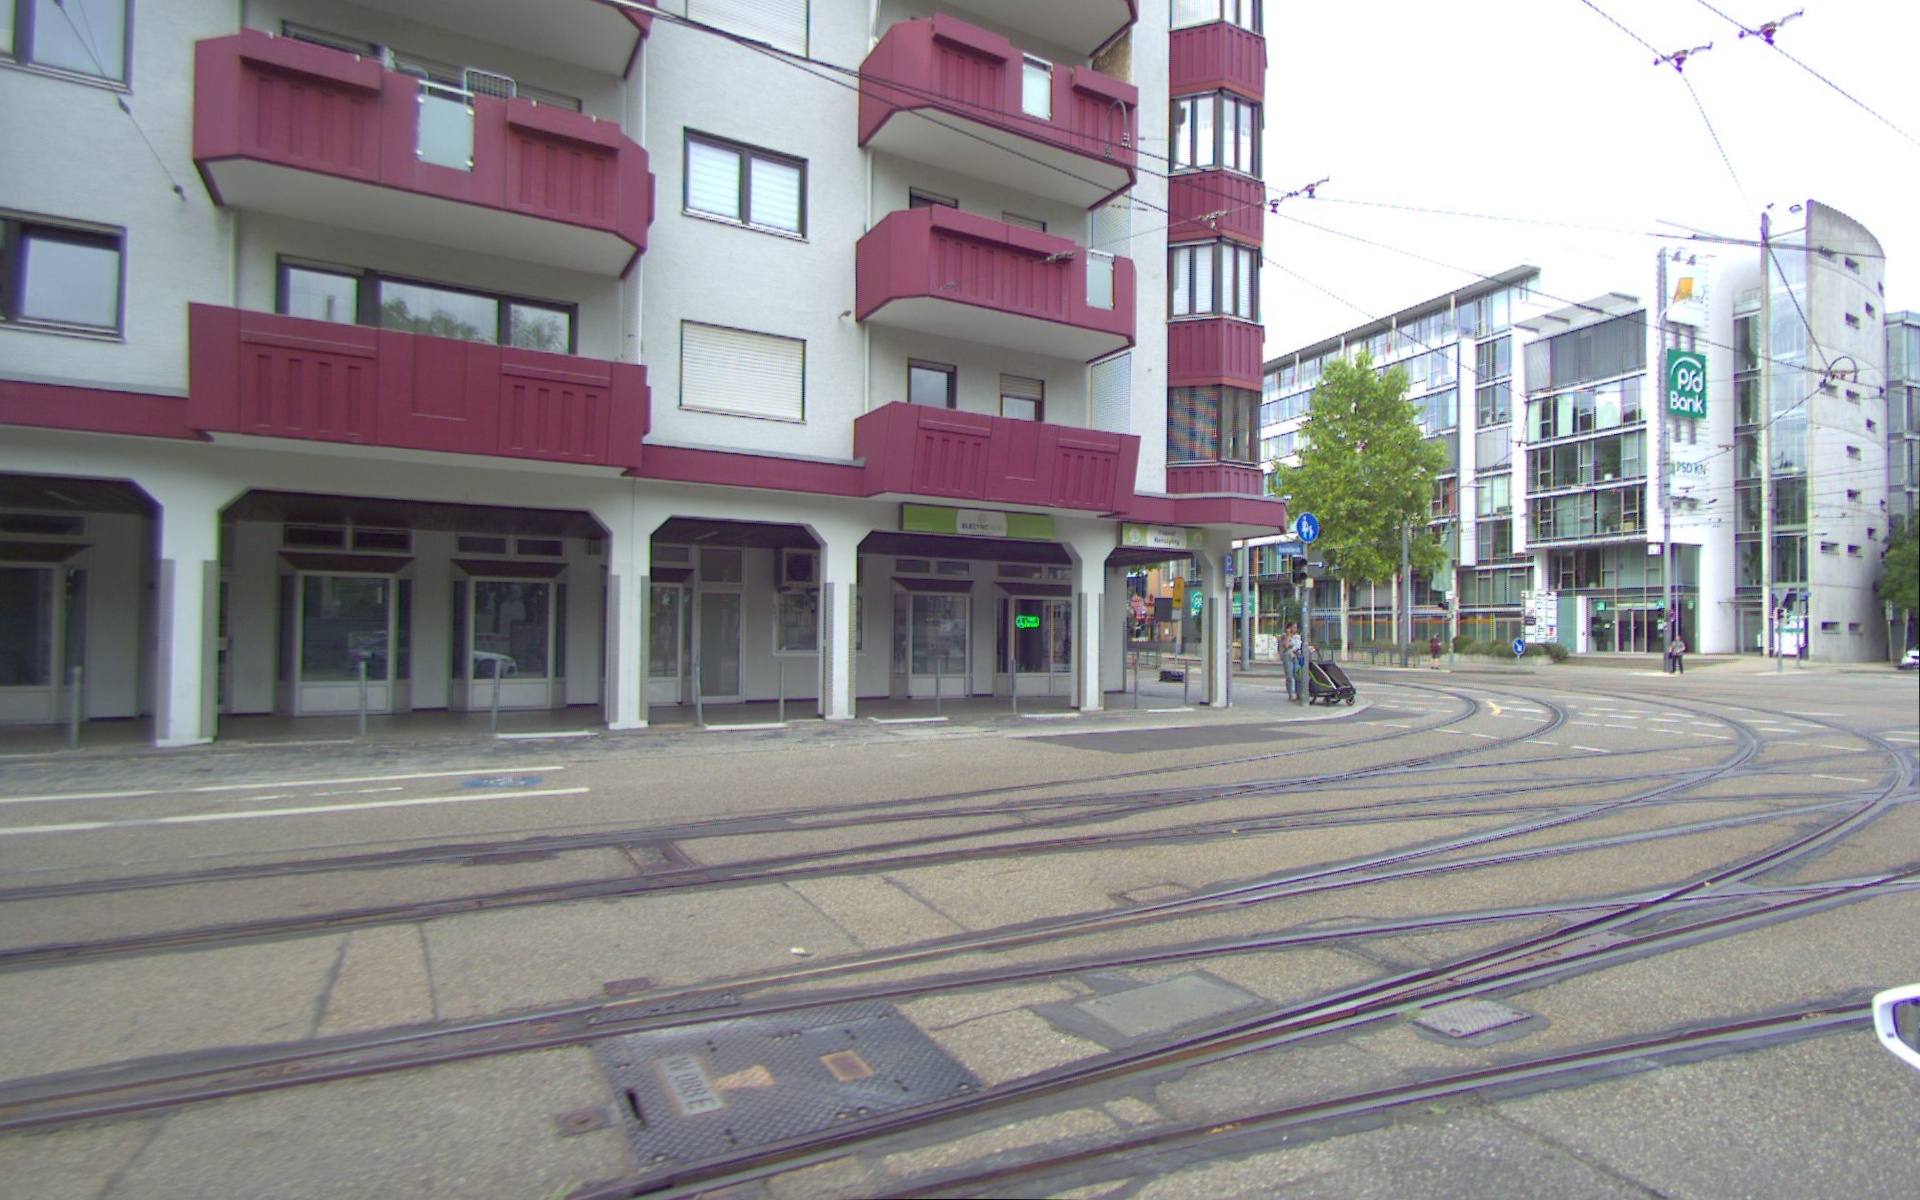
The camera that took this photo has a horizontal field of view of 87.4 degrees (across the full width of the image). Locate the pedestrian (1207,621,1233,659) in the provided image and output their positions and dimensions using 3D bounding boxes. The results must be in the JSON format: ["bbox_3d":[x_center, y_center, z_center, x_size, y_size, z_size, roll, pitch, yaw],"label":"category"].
[{"bbox_3d":[13.308,2.026,51.407,0.987,1.924,0.802,1,-1,-19],"label":"pedestrian"}]

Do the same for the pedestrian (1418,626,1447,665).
[{"bbox_3d":[21.056,2.028,44.790,0.753,1.693,0.935,1,-1,-15],"label":"pedestrian"}]

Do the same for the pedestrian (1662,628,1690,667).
[{"bbox_3d":[34.543,2.288,48.466,0.753,1.889,0.834,1,-1,-15],"label":"pedestrian"}]

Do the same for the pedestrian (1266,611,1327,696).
[{"bbox_3d":[7.182,1.120,21.436,0.803,1.766,0.943,1,-1,-31],"label":"pedestrian"}]

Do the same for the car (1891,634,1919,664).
[{"bbox_3d":[52.481,2.643,54.148,4.157,1.577,1.825,1,0,-24],"label":"car"}]

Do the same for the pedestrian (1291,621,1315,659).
[{"bbox_3d":[17.426,2.039,51.070,0.830,1.880,0.839,1,-2,-29],"label":"pedestrian"}]

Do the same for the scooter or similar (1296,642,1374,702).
[{"bbox_3d":[7.675,1.455,20.600,0.935,1.143,1.190,1,-1,-29],"label":"scooter or similar"}]
